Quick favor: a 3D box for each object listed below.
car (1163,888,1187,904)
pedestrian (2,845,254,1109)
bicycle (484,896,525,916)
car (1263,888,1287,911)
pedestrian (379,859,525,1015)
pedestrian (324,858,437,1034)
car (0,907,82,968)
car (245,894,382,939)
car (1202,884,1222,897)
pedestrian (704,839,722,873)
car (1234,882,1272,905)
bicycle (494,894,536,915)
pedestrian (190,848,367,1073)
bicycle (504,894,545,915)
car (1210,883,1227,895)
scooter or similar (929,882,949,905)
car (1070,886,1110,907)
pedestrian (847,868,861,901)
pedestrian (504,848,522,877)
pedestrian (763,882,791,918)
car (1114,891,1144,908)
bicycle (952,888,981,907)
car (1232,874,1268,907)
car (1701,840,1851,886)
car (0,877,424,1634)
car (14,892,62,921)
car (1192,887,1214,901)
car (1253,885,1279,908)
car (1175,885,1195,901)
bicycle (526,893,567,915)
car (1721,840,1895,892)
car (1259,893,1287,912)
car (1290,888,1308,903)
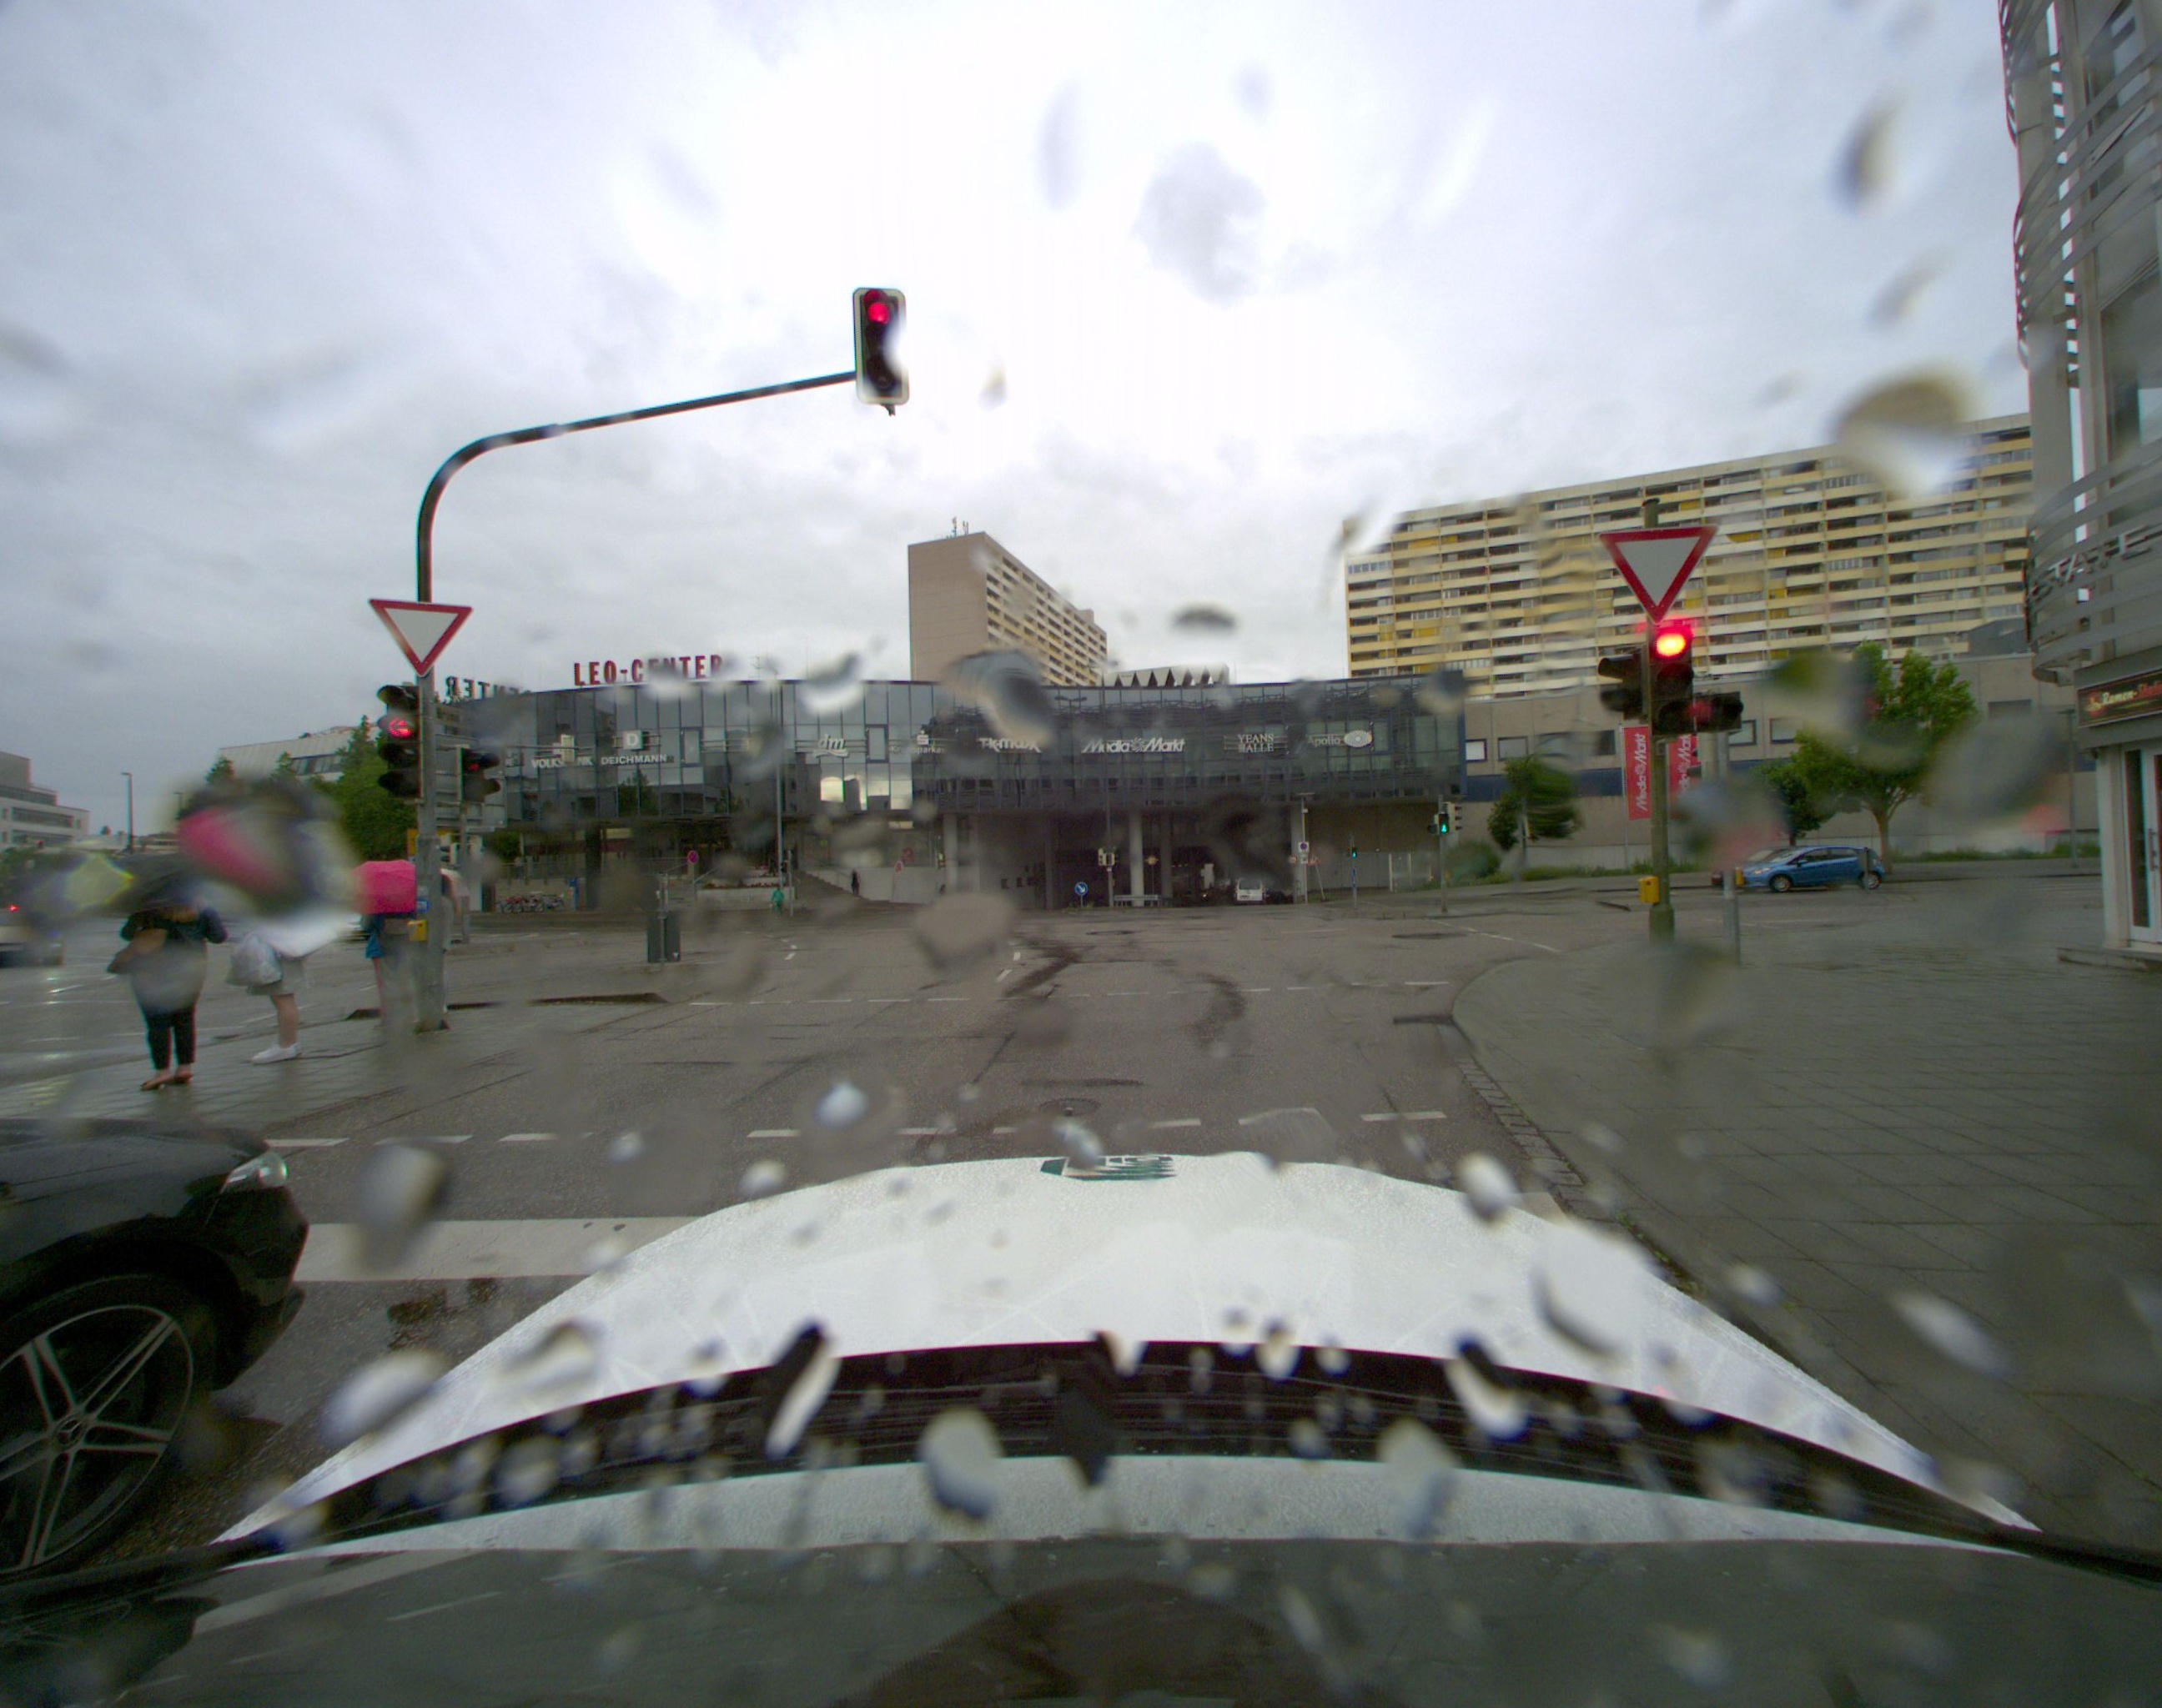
[{"bbox_3d":[10.509,4.714,91.147,1.899,1.588,3.956,-3,-2,17],"label":"car"},{"bbox_3d":[-6.979,0.834,6.038,0.956,1.736,0.829,-2,-2,-28],"label":"pedestrian"},{"bbox_3d":[-33.079,2.955,46.765,0.529,0.951,1.865,-1,2,23],"label":"bicycle"},{"bbox_3d":[16.862,3.942,70.665,1.777,1.771,4.017,-3,-2,17],"label":"car"},{"bbox_3d":[-7.228,0.920,9.404,0.932,1.677,0.917,-2,-1,1],"label":"pedestrian"},{"bbox_3d":[-7.223,0.902,8.395,0.665,1.685,0.811,-4,-2,45],"label":"pedestrian"},{"bbox_3d":[-28.171,2.156,21.115,5.079,1.414,2.136,-3,-2,31],"label":"car"},{"bbox_3d":[-27.277,2.231,28.977,3.949,1.441,1.754,-2,-1,16],"label":"car"},{"bbox_3d":[17.595,4.870,109.210,1.978,1.464,4.018,-3,-2,17],"label":"car"},{"bbox_3d":[-21.721,0.114,48.047,0.835,2.014,0.943,1,-1,-32],"label":"pedestrian"},{"bbox_3d":[11.845,2.771,56.037,1.742,1.464,3.963,-3,-5,23],"label":"car"},{"bbox_3d":[-32.394,2.883,46.625,0.621,1.033,1.865,-3,1,20],"label":"bicycle"},{"bbox_3d":[-6.904,0.846,7.009,1.123,1.744,0.865,-3,-1,34],"label":"pedestrian"},{"bbox_3d":[-31.684,2.871,46.381,0.640,1.042,1.865,-3,1,20],"label":"bicycle"},{"bbox_3d":[19.311,4.941,114.254,1.979,1.464,4.016,-3,-2,15],"label":"car"},{"bbox_3d":[-8.478,2.335,48.540,1.167,1.373,0.487,0,-1,-13],"label":"scooter or similar"},{"bbox_3d":[0.726,3.308,62.594,1.877,1.470,4.044,-2,-5,18],"label":"car"},{"bbox_3d":[-13.156,1.779,47.219,0.655,1.908,0.593,-1,-1,-6],"label":"pedestrian"},{"bbox_3d":[-34.254,0.525,49.102,0.592,1.714,0.658,-1,-1,25],"label":"pedestrian"},{"bbox_3d":[-14.337,2.185,38.480,0.945,1.623,0.809,-2,-1,2],"label":"pedestrian"},{"bbox_3d":[4.422,4.137,74.431,1.756,1.464,3.892,-3,-4,17],"label":"car"},{"bbox_3d":[-6.889,2.627,48.977,1.591,1.018,0.448,5,-3,-29],"label":"bicycle"},{"bbox_3d":[10.103,2.165,48.516,1.912,1.798,4.310,-2,-3,13],"label":"car"},{"bbox_3d":[24.849,0.341,29.240,3.660,1.395,1.750,-3,-2,11],"label":"car"},{"bbox_3d":[-3.002,0.831,0.617,1.657,1.481,4.094,0,0,0],"label":"car"},{"bbox_3d":[-75.167,3.740,58.682,4.085,1.896,2.062,-1,-1,38],"label":"car"},{"bbox_3d":[15.248,4.987,101.622,1.978,1.664,4.018,-1,-1,17],"label":"car"},{"bbox_3d":[13.794,3.169,60.689,1.621,1.612,4.279,-3,-3,15],"label":"car"},{"bbox_3d":[12.254,4.536,95.911,1.823,1.728,4.014,-2,-1,13],"label":"car"},{"bbox_3d":[-30.097,2.815,45.903,0.625,1.023,1.864,-3,1,20],"label":"bicycle"},{"bbox_3d":[23.430,0.401,26.386,3.819,1.397,1.684,-3,-2,10],"label":"car"},{"bbox_3d":[15.526,3.945,65.738,1.765,1.400,4.017,-3,-4,17],"label":"car"},{"bbox_3d":[24.272,4.582,90.425,1.874,1.491,3.856,-1,-1,16],"label":"car"}]
